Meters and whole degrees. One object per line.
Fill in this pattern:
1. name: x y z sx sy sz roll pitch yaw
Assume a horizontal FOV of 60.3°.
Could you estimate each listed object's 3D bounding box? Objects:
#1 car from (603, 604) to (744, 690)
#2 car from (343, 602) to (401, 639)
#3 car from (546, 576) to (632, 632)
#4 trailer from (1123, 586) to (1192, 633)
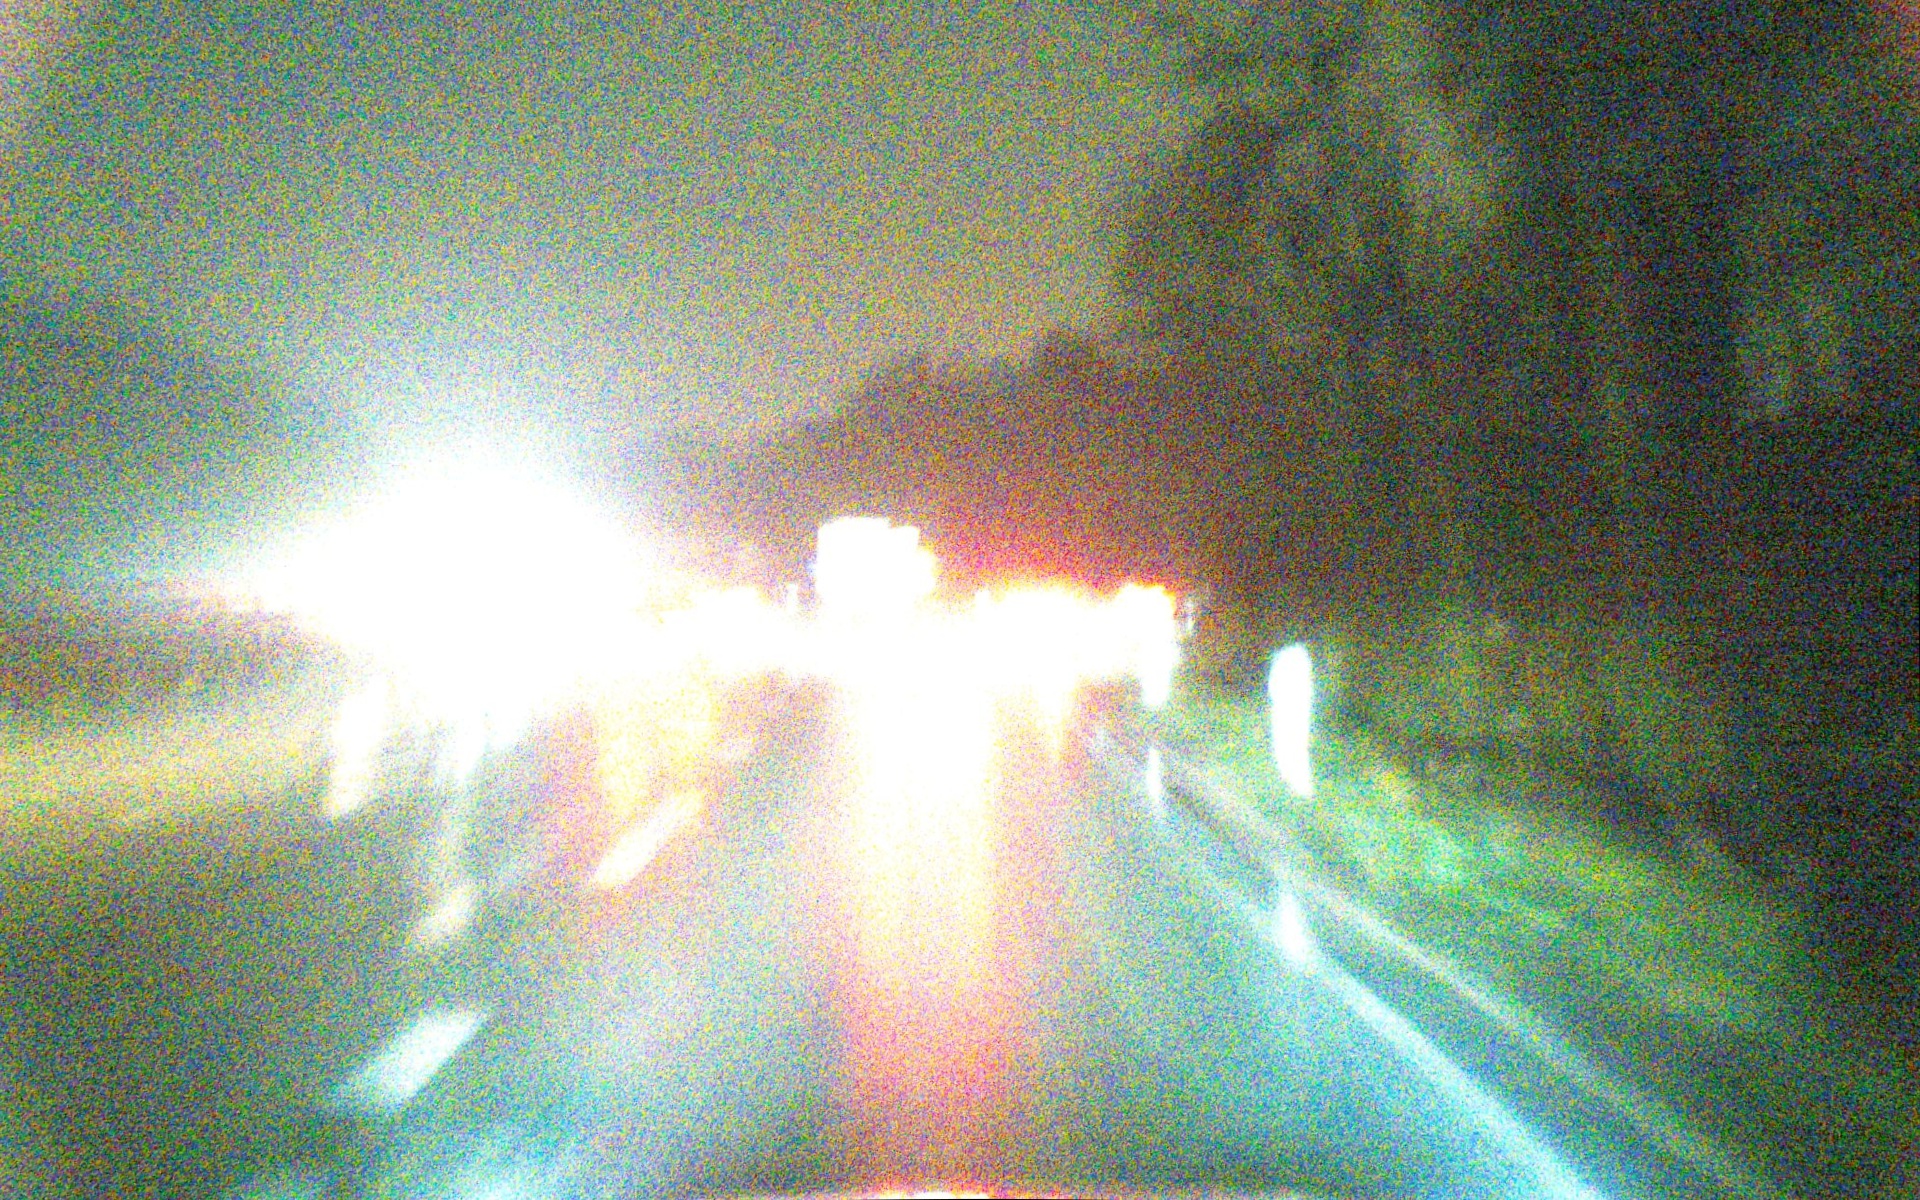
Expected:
1. car: -5.045 0.812 29.654 1.922 1.405 4.047 1 -1 -2
2. car: -25.248 0.878 71.134 1.752 1.500 3.881 0 -1 -11
3. car: -10.713 0.109 48.030 1.733 1.543 4.910 0 0 -4
4. trailer: 9.342 0.459 77.358 2.034 2.049 10.655 0 -1 13
